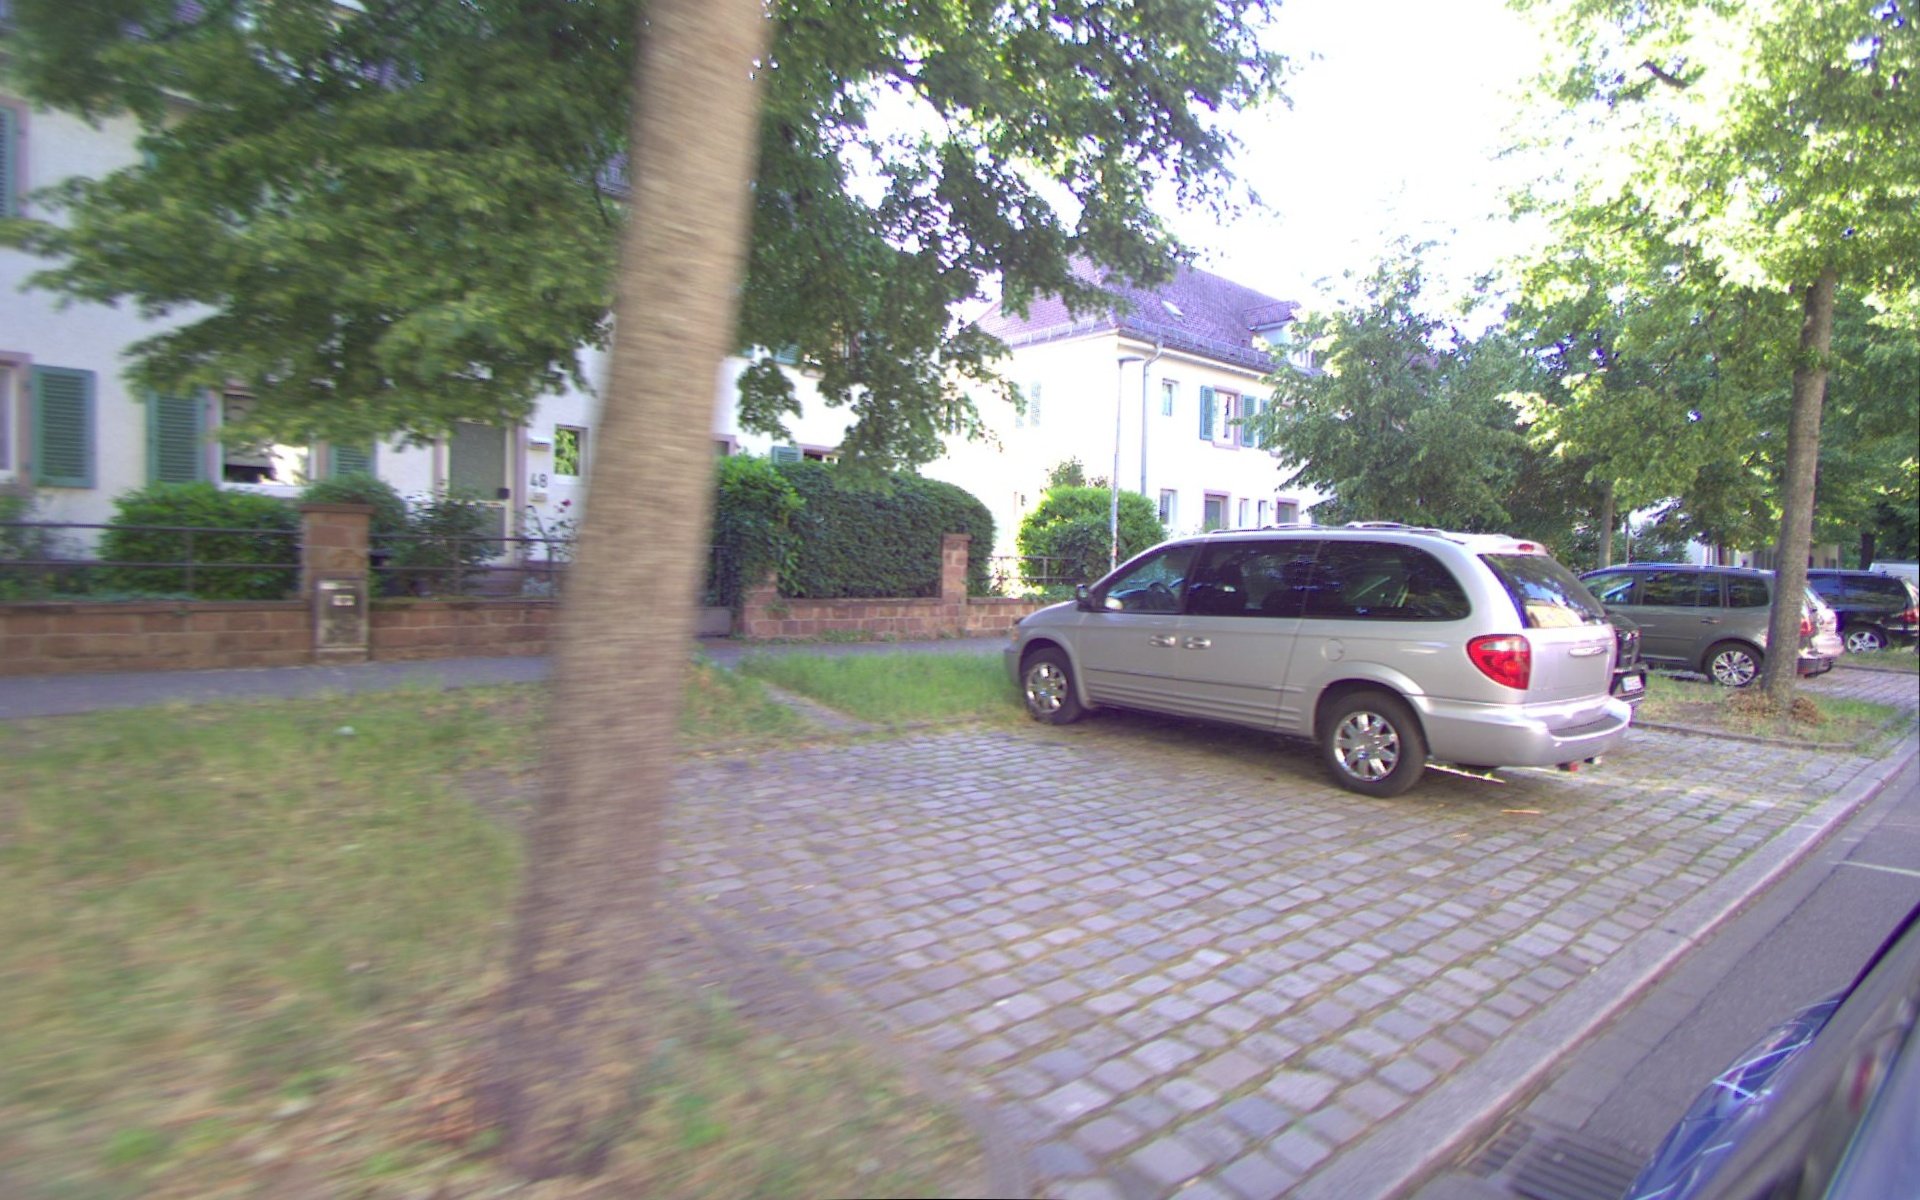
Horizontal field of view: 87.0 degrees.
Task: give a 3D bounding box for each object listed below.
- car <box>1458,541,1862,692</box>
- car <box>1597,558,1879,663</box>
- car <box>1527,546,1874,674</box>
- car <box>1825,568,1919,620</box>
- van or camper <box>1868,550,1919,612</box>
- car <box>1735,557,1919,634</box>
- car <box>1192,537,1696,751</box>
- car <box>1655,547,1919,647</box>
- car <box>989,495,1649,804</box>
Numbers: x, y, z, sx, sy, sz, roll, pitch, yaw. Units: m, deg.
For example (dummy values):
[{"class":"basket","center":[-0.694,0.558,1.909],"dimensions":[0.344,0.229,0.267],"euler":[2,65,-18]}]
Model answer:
[{"class":"car","center":[10.049,0.103,14.807],"dimensions":[4.543,1.652,1.784],"euler":[7,6,44]},{"class":"car","center":[13.965,0.111,18.342],"dimensions":[1.561,1.470,3.732],"euler":[0,5,-40]},{"class":"car","center":[12.132,0.056,16.872],"dimensions":[1.659,1.652,4.288],"euler":[0,5,-37]},{"class":"car","center":[32.190,-0.113,33.732],"dimensions":[1.862,1.557,4.848],"euler":[-1,6,-42]},{"class":"van or camper","center":[42.254,-0.646,42.502],"dimensions":[2.124,2.546,5.735],"euler":[0,5,-40]},{"class":"car","center":[23.231,-0.141,26.362],"dimensions":[1.843,1.652,4.487],"euler":[0,5,-41]},{"class":"car","center":[4.494,0.255,9.964],"dimensions":[1.663,1.494,4.080],"euler":[1,5,-39]},{"class":"car","center":[17.847,-0.143,21.538],"dimensions":[1.872,1.697,4.597],"euler":[0,5,-38]},{"class":"car","center":[2.432,0.112,8.036],"dimensions":[1.800,1.730,4.633],"euler":[0,4,-38]}]
